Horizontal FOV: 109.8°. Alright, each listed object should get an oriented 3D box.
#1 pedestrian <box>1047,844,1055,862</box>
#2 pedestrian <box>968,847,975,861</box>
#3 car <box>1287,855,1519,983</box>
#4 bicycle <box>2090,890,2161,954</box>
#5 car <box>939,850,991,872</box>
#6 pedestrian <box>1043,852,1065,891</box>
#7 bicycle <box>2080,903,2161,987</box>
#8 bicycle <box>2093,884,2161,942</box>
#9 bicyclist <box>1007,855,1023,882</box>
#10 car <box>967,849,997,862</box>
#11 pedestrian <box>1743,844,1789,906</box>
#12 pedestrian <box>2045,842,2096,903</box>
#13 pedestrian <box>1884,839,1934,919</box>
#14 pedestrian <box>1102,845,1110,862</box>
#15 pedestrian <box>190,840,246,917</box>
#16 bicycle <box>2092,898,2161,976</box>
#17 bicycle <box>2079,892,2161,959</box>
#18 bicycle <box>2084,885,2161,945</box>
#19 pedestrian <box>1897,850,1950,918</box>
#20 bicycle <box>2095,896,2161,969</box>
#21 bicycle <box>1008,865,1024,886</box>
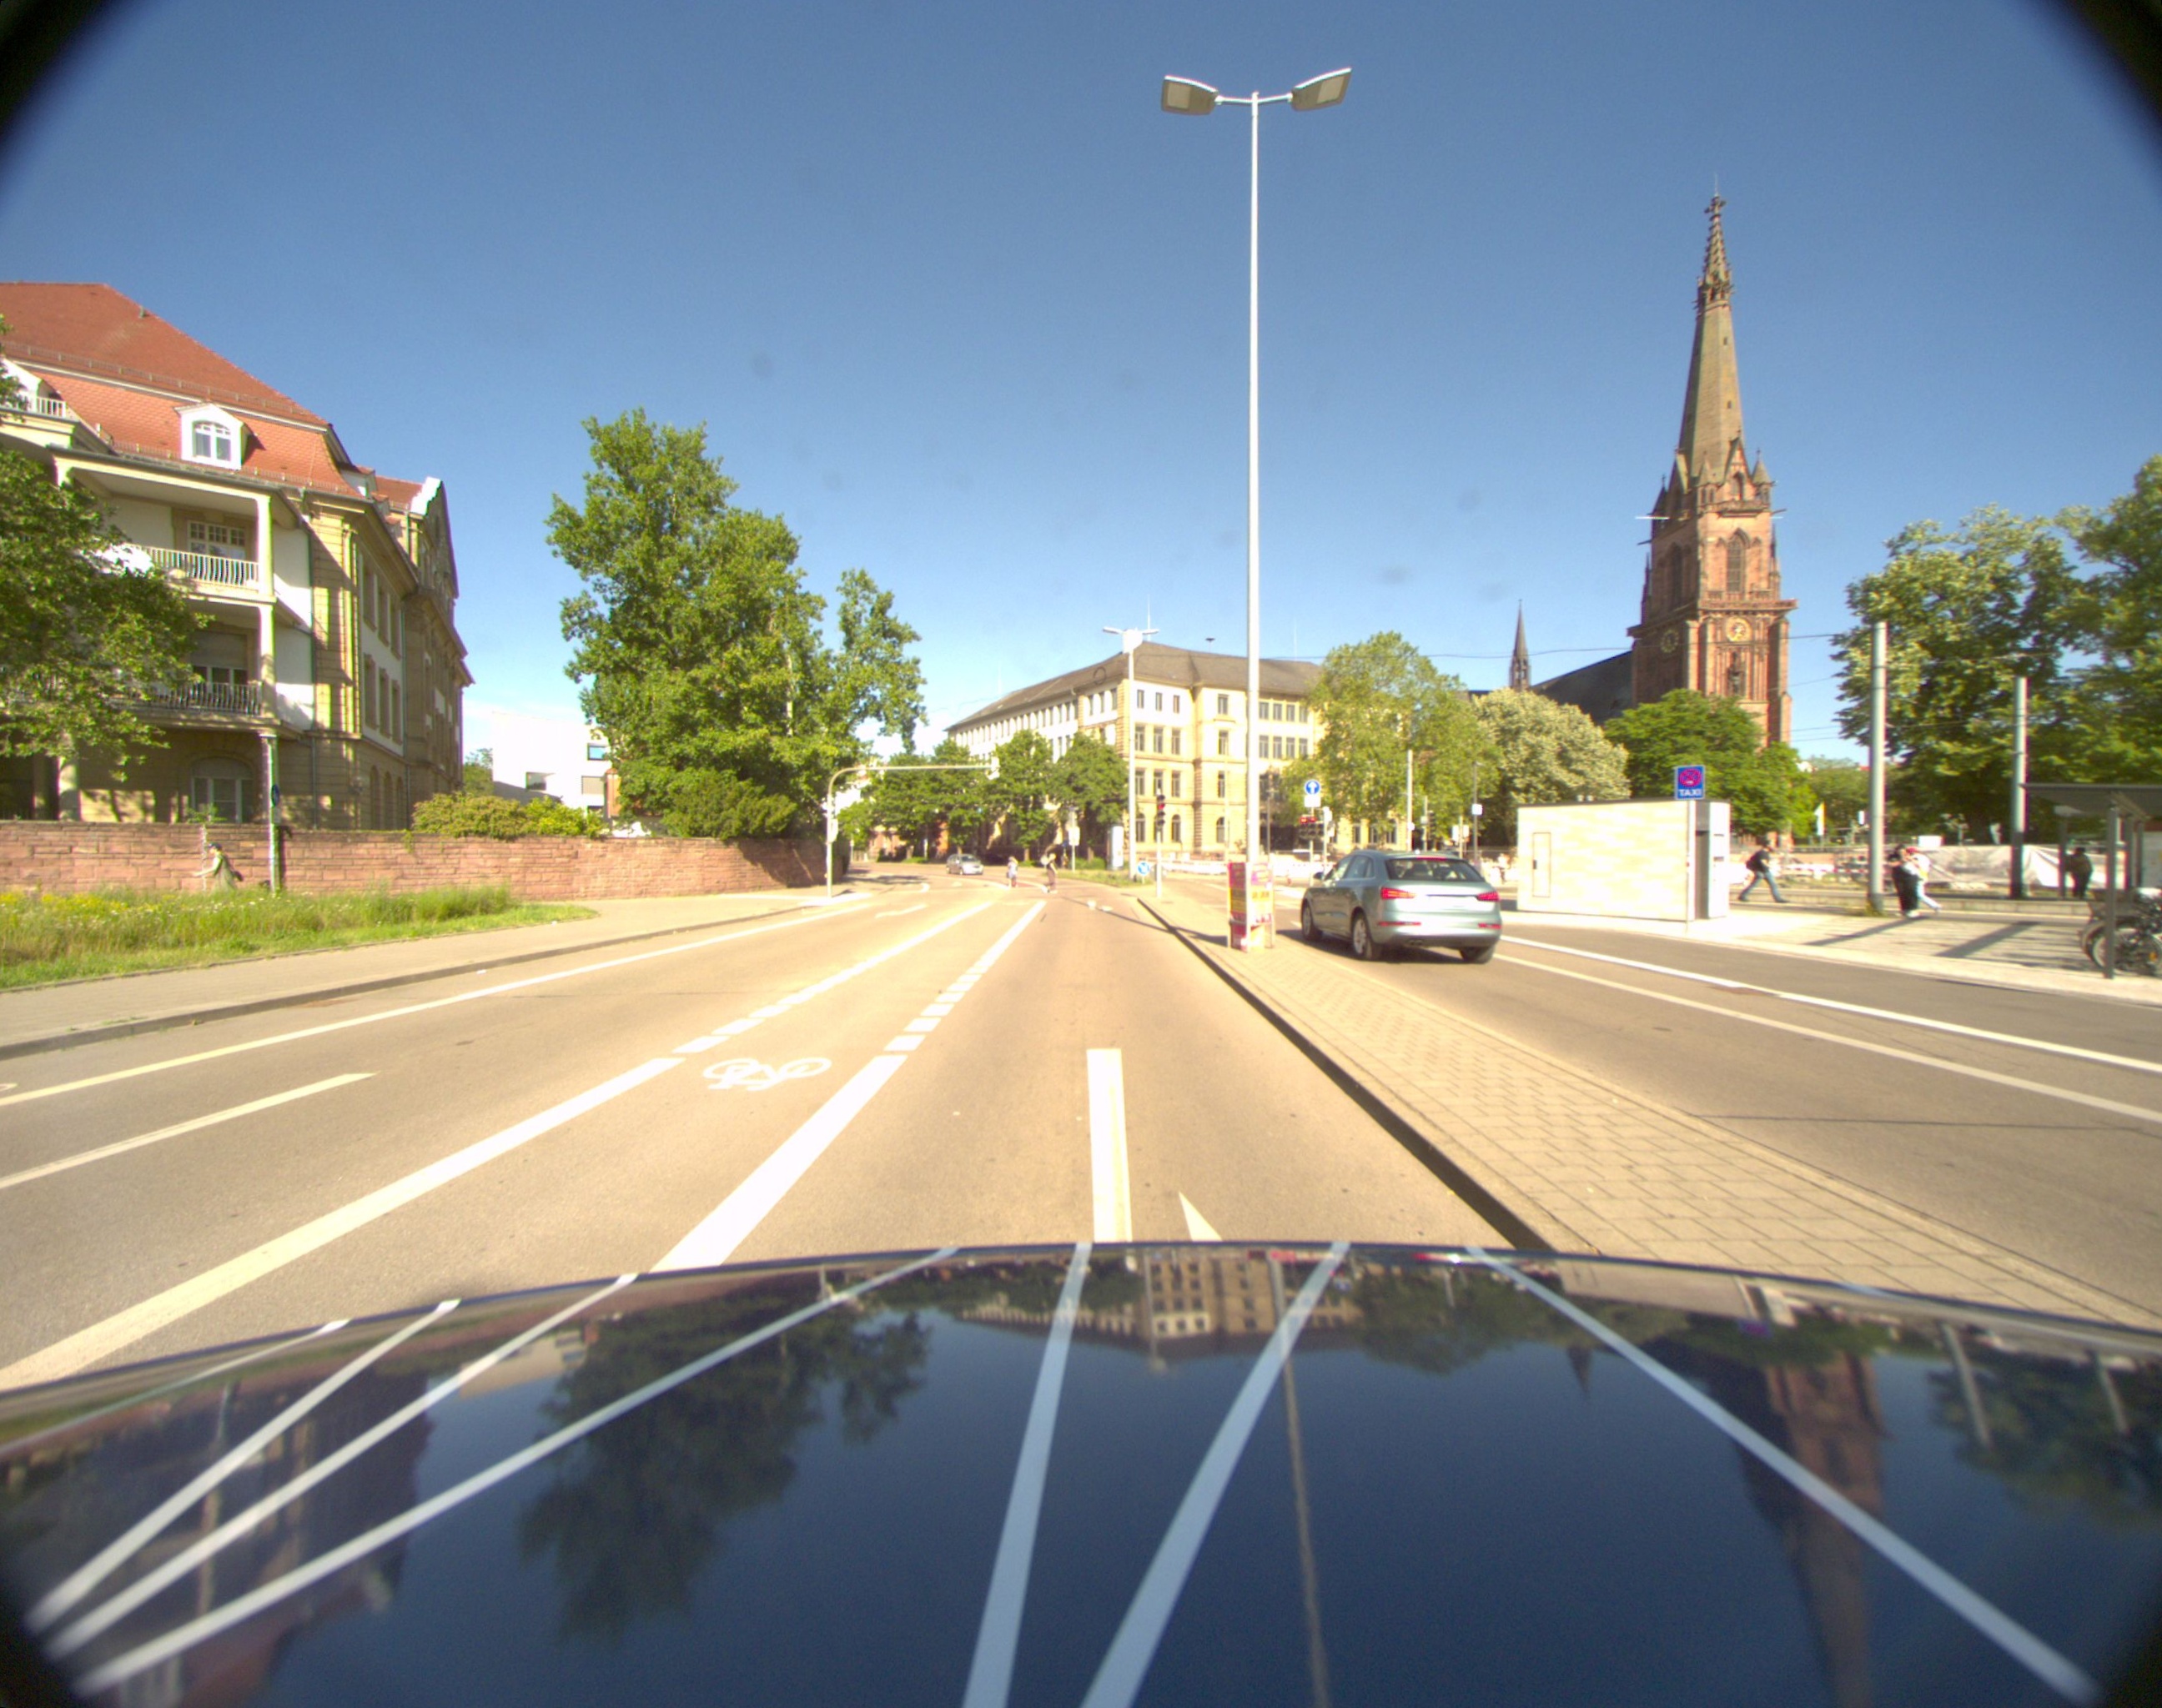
[{"bbox_3d":[-3.395,-0.091,86.193,0.557,2.002,0.645,-1,1,-37],"label":"pedestrian"},{"bbox_3d":[-14.875,-0.036,102.829,0.578,1.893,0.849,-1,1,-36],"label":"pedestrian"},{"bbox_3d":[4.691,0.831,11.844,1.792,1.572,4.257,1,0,0],"label":"car"},{"bbox_3d":[17.966,1.139,12.460,0.407,0.993,1.679,-3,2,-33],"label":"bicycle"},{"bbox_3d":[-9.292,0.575,60.423,2.003,1.580,4.839,-3,1,-36],"label":"car"},{"bbox_3d":[-1.157,0.765,32.727,0.932,1.657,0.630,0,1,-2],"label":"pedestrian"},{"bbox_3d":[13.987,1.190,9.552,0.407,0.993,1.678,-3,3,-33],"label":"bicycle"},{"bbox_3d":[19.516,1.066,13.580,0.407,0.993,1.679,-3,2,-33],"label":"bicycle"},{"bbox_3d":[-3.433,0.765,39.648,0.741,1.363,0.626,-2,1,-6],"label":"bicyclist"},{"bbox_3d":[-11.887,0.139,90.761,1.839,1.587,3.989,-1,1,-37],"label":"car"},{"bbox_3d":[19.484,0.572,21.617,0.622,1.717,0.831,-1,1,-36],"label":"pedestrian"},{"bbox_3d":[30.542,0.556,23.459,0.619,1.849,0.703,0,1,11],"label":"pedestrian"},{"bbox_3d":[19.649,0.569,18.032,0.703,1.849,0.619,-1,1,-26],"label":"pedestrian"},{"bbox_3d":[2.483,-0.020,75.863,0.540,1.710,0.545,-1,1,-37],"label":"pedestrian"},{"bbox_3d":[-21.159,0.581,18.648,0.789,1.847,0.629,-1,1,-41],"label":"pedestrian"},{"bbox_3d":[15.032,1.167,10.209,0.407,0.993,1.678,-3,3,-33],"label":"bicycle"},{"bbox_3d":[17.186,1.143,12.013,0.407,0.993,1.679,-3,2,-33],"label":"bicycle"},{"bbox_3d":[19.030,1.085,13.338,0.407,0.993,1.679,-3,2,-33],"label":"bicycle"},{"bbox_3d":[20.396,0.705,18.398,0.621,1.613,0.701,-1,1,-27],"label":"pedestrian"},{"bbox_3d":[16.130,1.184,11.000,0.407,0.993,1.678,-3,3,-33],"label":"bicycle"},{"bbox_3d":[-3.415,1.122,39.667,0.741,0.989,2.305,-2,1,-6],"label":"bicycle"}]
